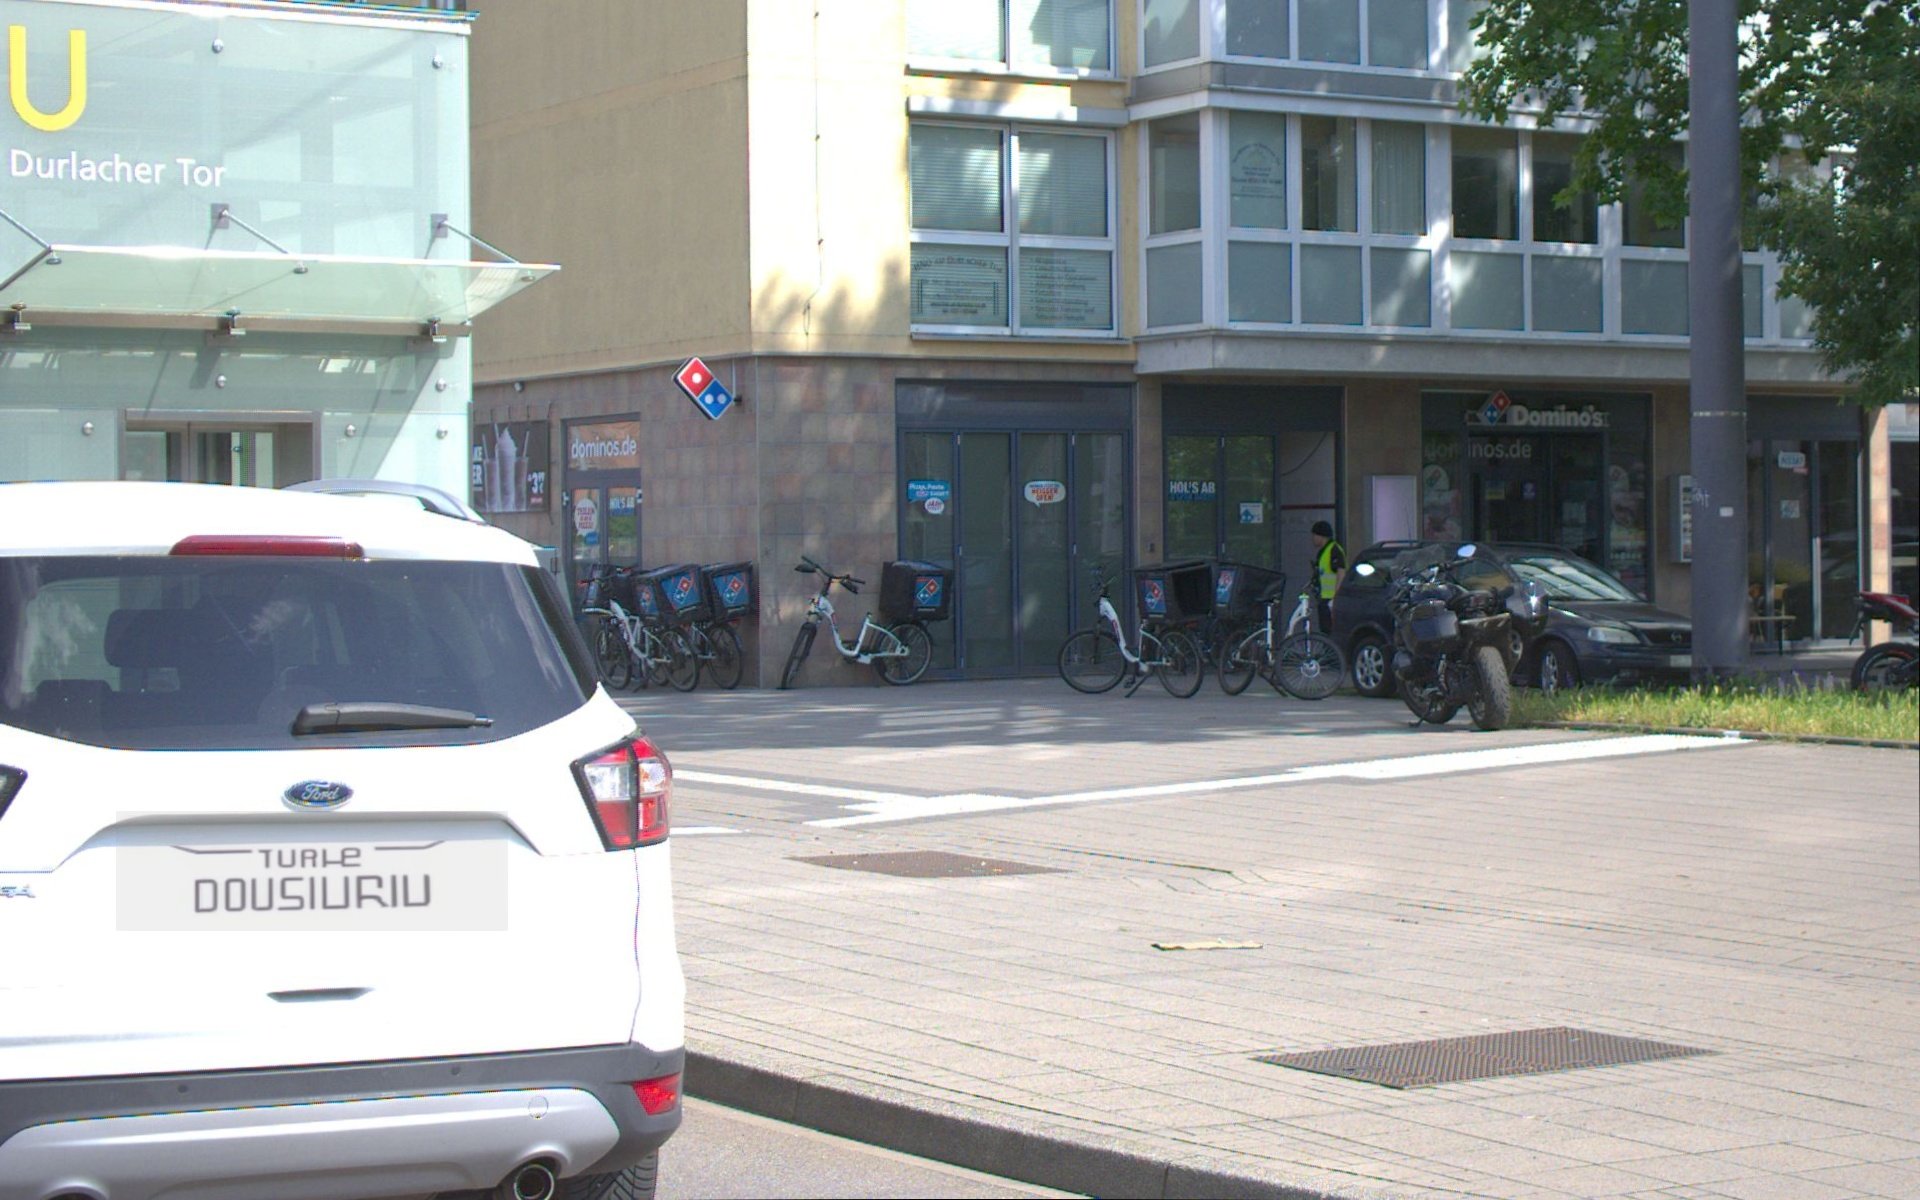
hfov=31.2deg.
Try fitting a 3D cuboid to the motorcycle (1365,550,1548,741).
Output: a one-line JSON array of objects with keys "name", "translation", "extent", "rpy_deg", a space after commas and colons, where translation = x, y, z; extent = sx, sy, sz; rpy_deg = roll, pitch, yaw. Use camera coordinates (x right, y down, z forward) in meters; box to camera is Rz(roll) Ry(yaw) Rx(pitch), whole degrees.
[{"name": "motorcycle", "translation": [3.427, 0.285, 23.930], "extent": [0.903, 1.233, 2.219], "rpy_deg": [-2, 1, -1]}]

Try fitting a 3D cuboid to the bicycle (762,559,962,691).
[{"name": "bicycle", "translation": [-0.968, 0.235, 33.971], "extent": [1.803, 1.254, 0.797], "rpy_deg": [-1, 1, -22]}]

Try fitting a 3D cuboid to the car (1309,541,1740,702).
[{"name": "car", "translation": [5.193, 0.162, 32.087], "extent": [1.667, 1.393, 4.000], "rpy_deg": [0, 1, -34]}]

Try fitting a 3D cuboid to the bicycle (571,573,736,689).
[{"name": "bicycle", "translation": [-3.073, 0.296, 34.345], "extent": [0.794, 1.100, 1.809], "rpy_deg": [-1, 2, -37]}]

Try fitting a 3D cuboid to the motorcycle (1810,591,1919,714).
[{"name": "motorcycle", "translation": [7.651, 0.388, 26.546], "extent": [2.039, 0.914, 0.810], "rpy_deg": [-1, 1, 19]}]

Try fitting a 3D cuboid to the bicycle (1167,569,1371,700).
[{"name": "bicycle", "translation": [2.851, 0.301, 31.883], "extent": [0.794, 1.143, 1.949], "rpy_deg": [-1, 2, -36]}]

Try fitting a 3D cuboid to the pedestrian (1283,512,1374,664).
[{"name": "pedestrian", "translation": [3.973, -0.141, 37.100], "extent": [0.857, 1.602, 0.832], "rpy_deg": [1, 2, -1]}]

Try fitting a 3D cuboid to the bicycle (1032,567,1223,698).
[{"name": "bicycle", "translation": [1.536, 0.282, 31.724], "extent": [0.794, 1.143, 1.809], "rpy_deg": [-1, 2, -36]}]

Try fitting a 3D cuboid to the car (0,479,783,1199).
[{"name": "car", "translation": [-2.060, 0.603, 7.708], "extent": [1.827, 1.658, 3.956], "rpy_deg": [0, 1, -28]}]
